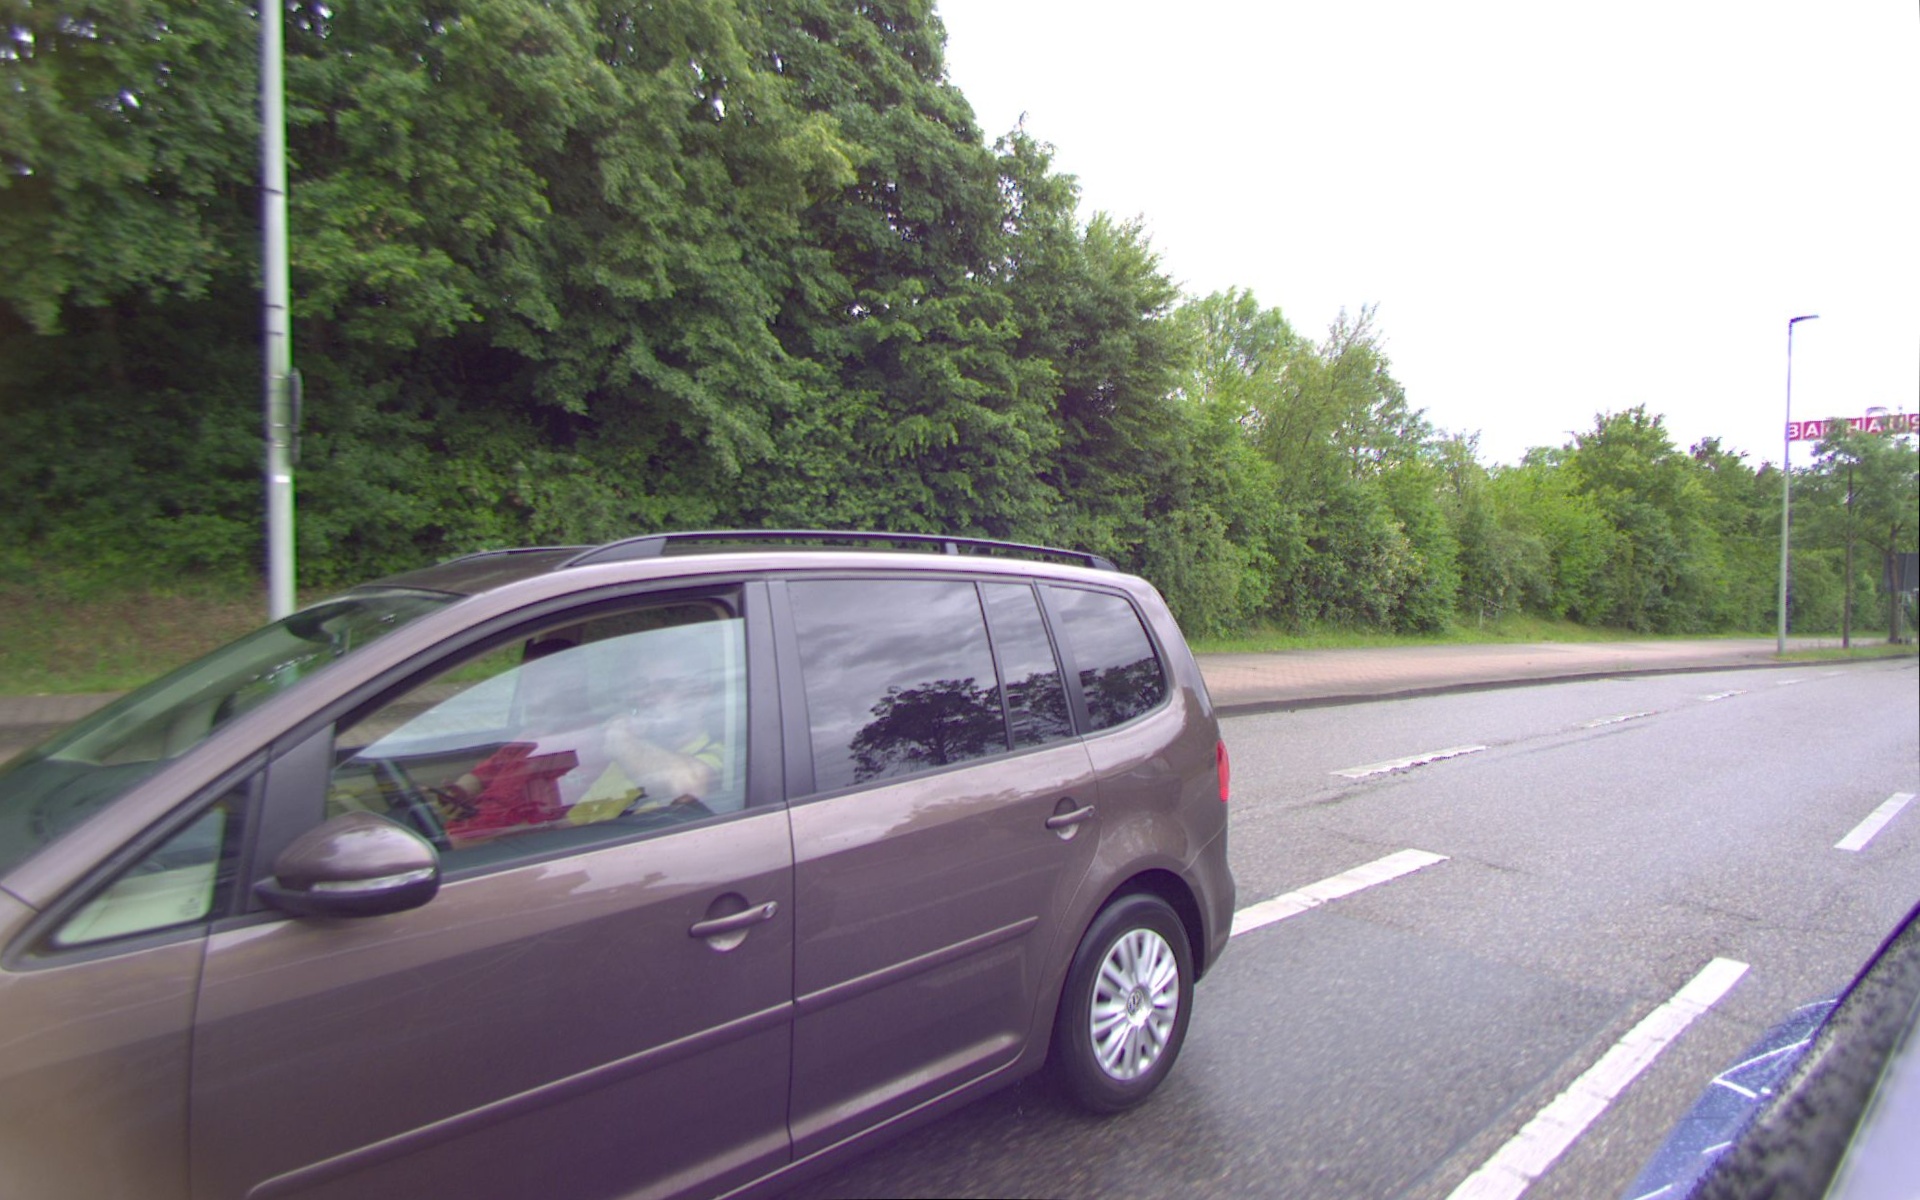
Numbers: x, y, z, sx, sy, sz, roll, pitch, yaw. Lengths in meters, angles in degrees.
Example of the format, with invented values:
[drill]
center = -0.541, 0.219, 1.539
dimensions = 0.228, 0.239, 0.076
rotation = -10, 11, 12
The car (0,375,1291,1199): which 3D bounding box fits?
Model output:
[car]
center = -0.964, 0.516, 2.680
dimensions = 4.060, 1.616, 1.716
rotation = 1, 1, -43
